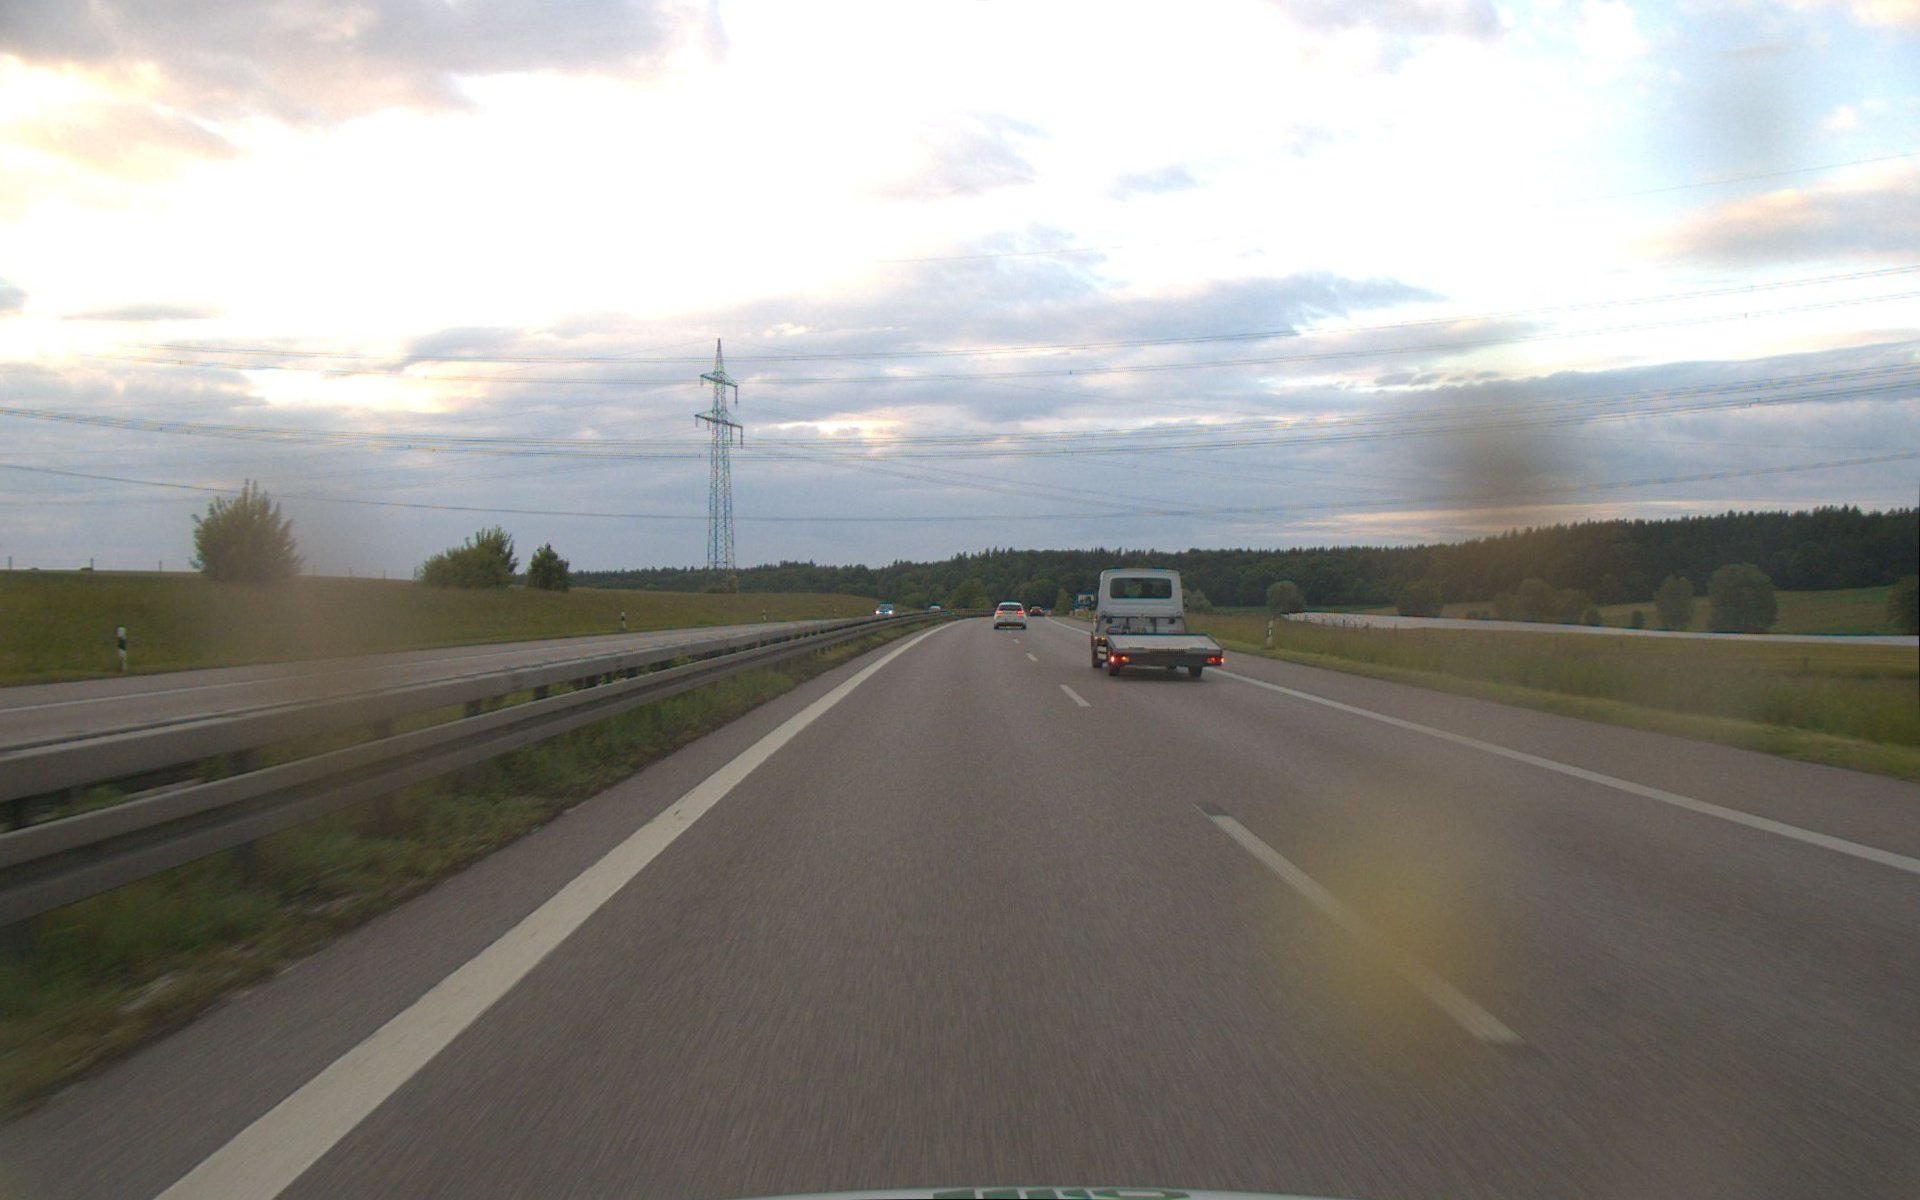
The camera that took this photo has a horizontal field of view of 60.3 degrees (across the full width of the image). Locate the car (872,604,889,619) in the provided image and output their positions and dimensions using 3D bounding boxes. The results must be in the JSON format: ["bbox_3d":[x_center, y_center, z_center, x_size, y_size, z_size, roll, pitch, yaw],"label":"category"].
[{"bbox_3d":[-8.774,1.262,183.531,1.663,1.693,4.463,1,0,-1],"label":"car"}]

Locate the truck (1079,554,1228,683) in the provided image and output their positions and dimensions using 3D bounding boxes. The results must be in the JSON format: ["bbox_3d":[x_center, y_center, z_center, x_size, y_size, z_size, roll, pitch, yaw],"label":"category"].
[{"bbox_3d":[3.915,0.363,34.987,2.127,2.401,7.695,1,0,-1],"label":"truck"}]

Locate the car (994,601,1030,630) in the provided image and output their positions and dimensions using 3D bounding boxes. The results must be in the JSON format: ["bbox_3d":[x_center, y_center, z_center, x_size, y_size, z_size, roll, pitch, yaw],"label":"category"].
[{"bbox_3d":[2.906,0.843,91.917,1.911,1.558,4.081,1,0,2],"label":"car"}]

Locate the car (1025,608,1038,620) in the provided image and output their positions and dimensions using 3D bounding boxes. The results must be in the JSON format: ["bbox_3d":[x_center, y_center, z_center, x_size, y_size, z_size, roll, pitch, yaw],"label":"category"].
[{"bbox_3d":[10.901,2.185,251.101,1.911,1.762,4.081,1,0,2],"label":"car"}]
